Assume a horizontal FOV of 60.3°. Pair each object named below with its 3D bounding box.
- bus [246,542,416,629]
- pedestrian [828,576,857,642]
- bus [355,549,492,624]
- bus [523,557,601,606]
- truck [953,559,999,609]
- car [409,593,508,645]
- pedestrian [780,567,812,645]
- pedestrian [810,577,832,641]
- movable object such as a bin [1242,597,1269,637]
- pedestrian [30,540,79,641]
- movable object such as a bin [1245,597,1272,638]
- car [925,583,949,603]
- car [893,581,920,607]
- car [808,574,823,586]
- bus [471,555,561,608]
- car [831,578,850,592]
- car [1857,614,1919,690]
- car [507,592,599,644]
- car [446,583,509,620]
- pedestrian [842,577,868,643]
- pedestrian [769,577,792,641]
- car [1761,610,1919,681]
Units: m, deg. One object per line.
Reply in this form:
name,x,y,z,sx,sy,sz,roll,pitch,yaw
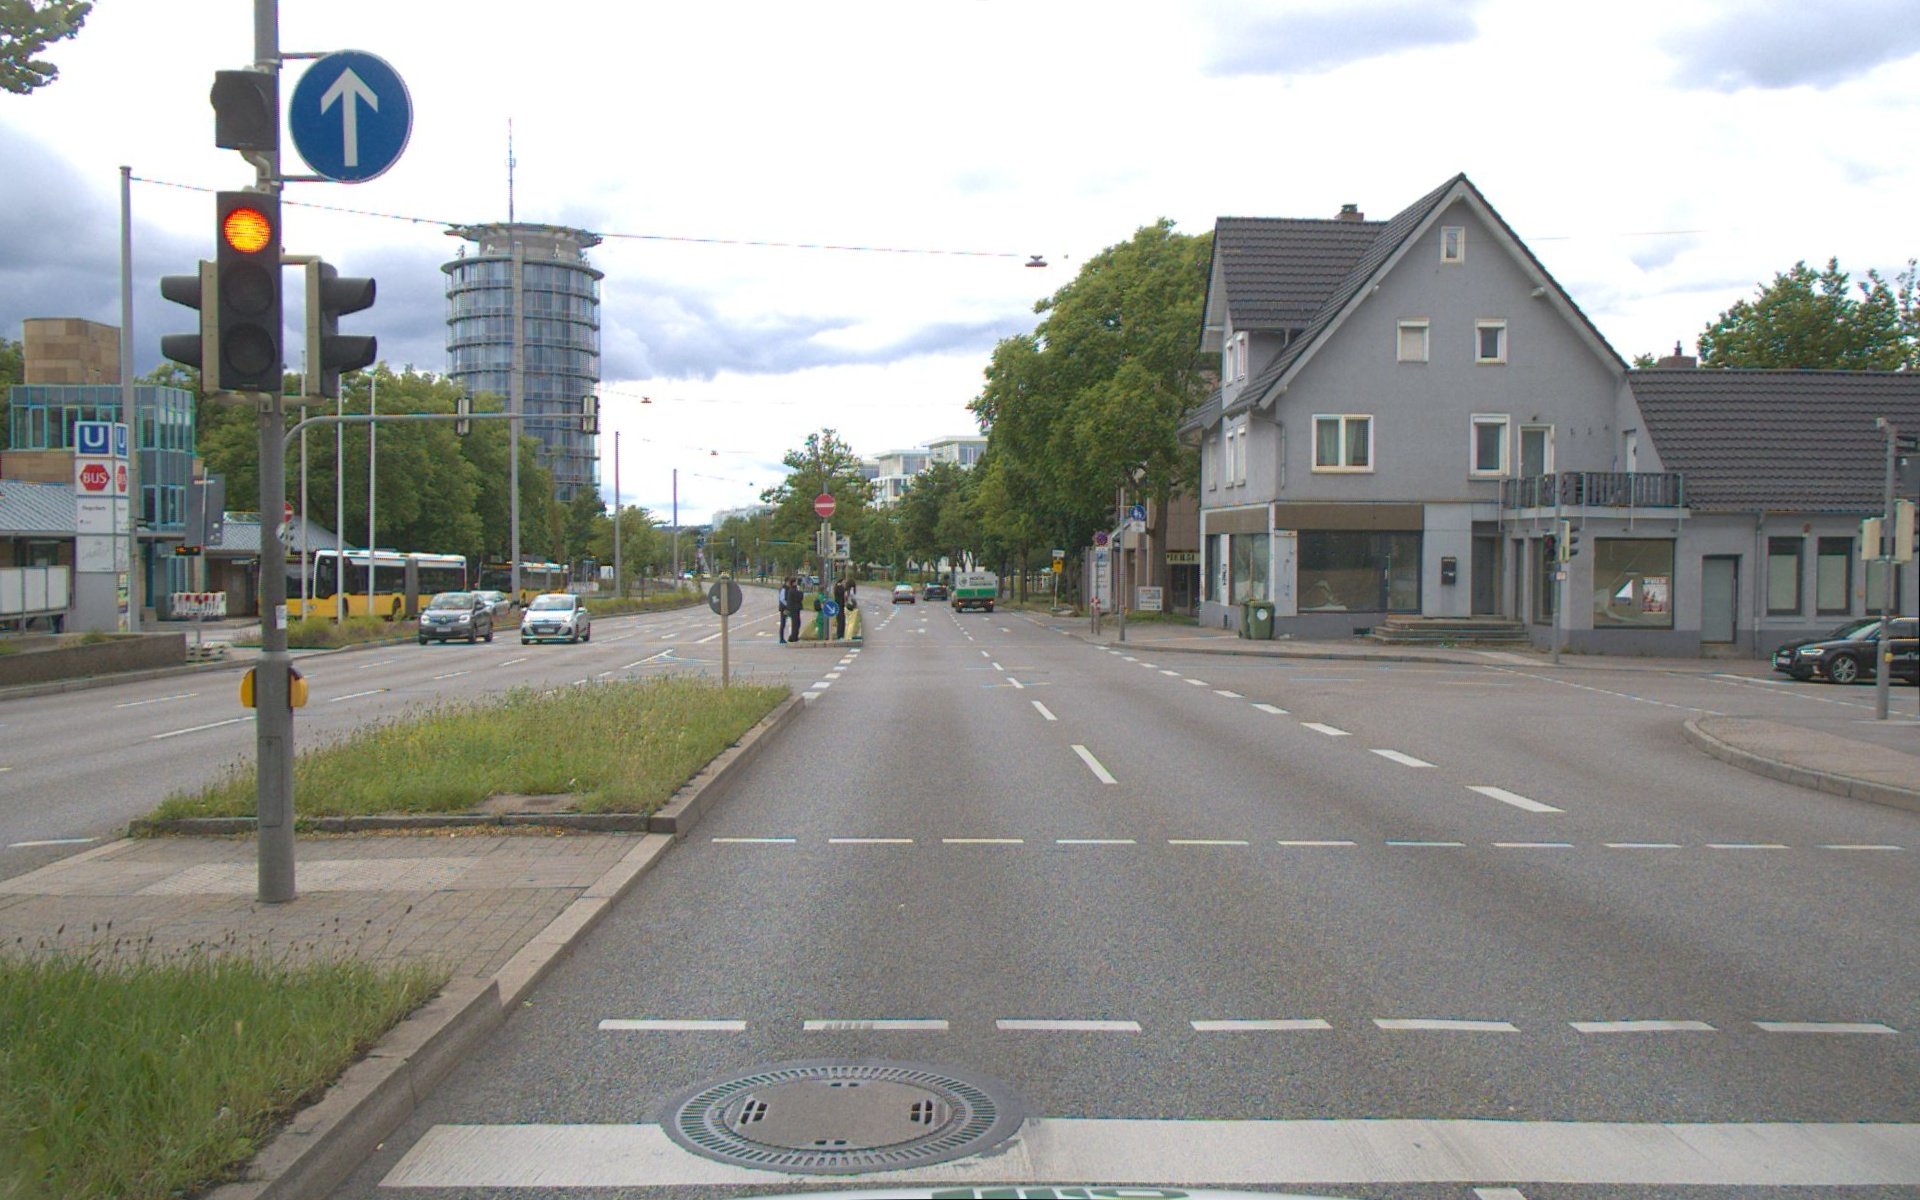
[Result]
bus,-27.044,-0.608,71.829,2.772,3.490,10.738,0,0,3
pedestrian,-3.168,0.245,44.476,0.731,1.746,0.582,0,0,-8
bus,-26.485,-0.657,82.325,2.772,3.490,10.738,0,0,3
bus,-29.813,-1.382,124.388,2.772,3.490,10.738,0,0,3
truck,0.890,-0.930,93.058,2.420,2.656,6.548,1,1,0
car,-15.453,0.552,51.176,1.953,1.512,3.998,-1,0,-2
pedestrian,-4.346,0.149,43.773,0.814,2.049,0.545,0,0,-8
pedestrian,-3.793,0.244,45.170,0.572,1.746,0.545,0,0,-8
movable object such as a bin,7.954,0.457,44.513,0.603,1.061,0.589,1,0,1
pedestrian,-18.622,-0.200,34.035,0.668,2.049,0.645,0,0,-5
movable object such as a bin,7.935,0.455,44.012,0.592,1.078,0.589,1,0,1
car,-1.876,-0.583,134.599,1.953,1.579,3.999,1,0,-1
car,-4.076,-0.471,126.262,1.953,1.862,3.999,1,0,-1
car,-20.888,-2.898,239.112,1.957,1.579,3.991,-1,0,-10
bus,-30.378,-1.231,113.639,2.772,3.490,10.738,0,0,3
car,-12.754,-1.597,176.025,1.954,1.545,3.996,0,1,-5
car,19.869,1.047,32.037,4.006,1.395,1.799,2,0,-2
car,-12.421,0.519,50.742,1.953,1.512,3.998,-1,0,-2
car,-22.774,0.067,78.126,1.769,1.691,4.000,0,0,0
pedestrian,-2.785,0.270,43.936,0.641,1.746,0.451,0,0,-8
pedestrian,-4.916,0.249,45.210,0.601,1.746,0.545,0,0,-8
car,19.606,0.980,35.424,4.006,1.395,1.799,2,0,-2
